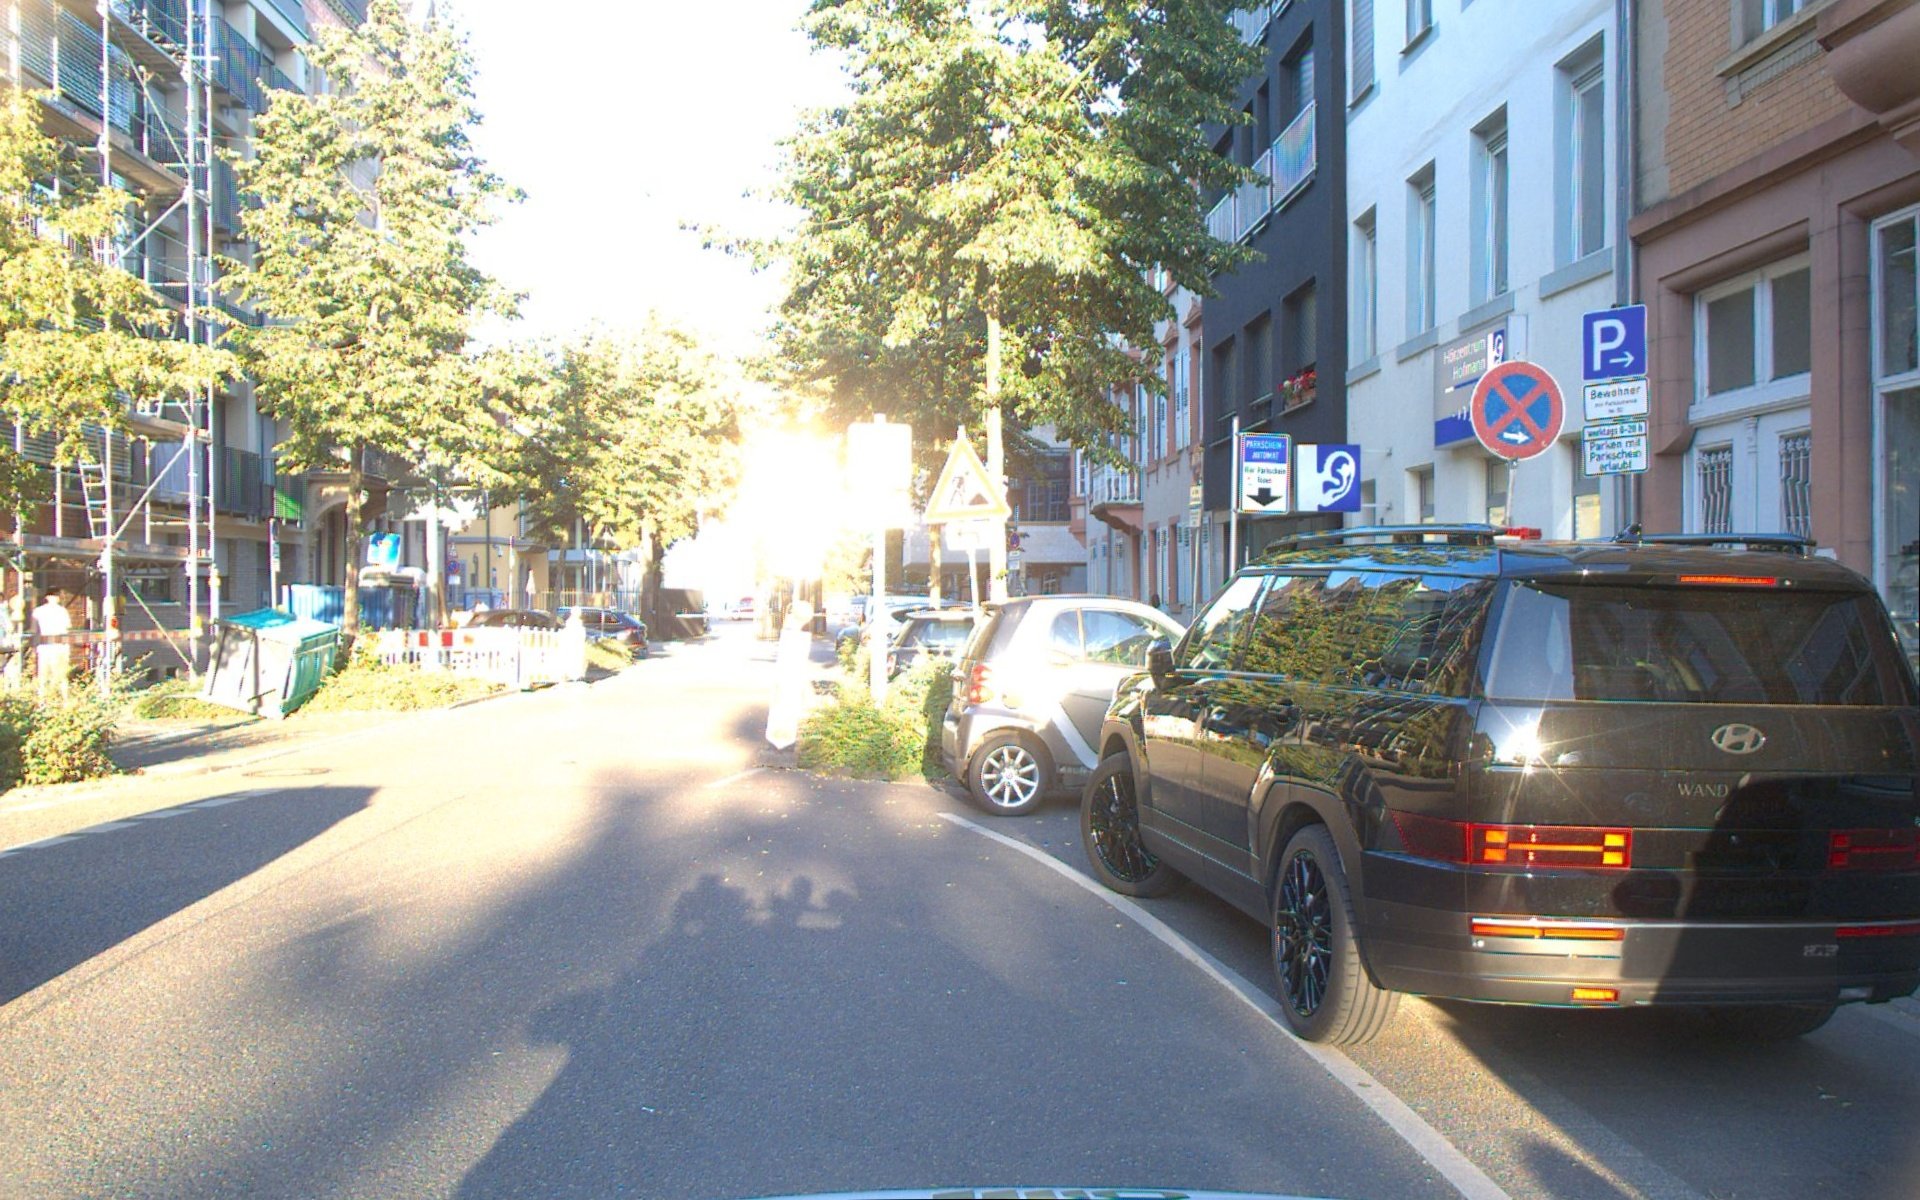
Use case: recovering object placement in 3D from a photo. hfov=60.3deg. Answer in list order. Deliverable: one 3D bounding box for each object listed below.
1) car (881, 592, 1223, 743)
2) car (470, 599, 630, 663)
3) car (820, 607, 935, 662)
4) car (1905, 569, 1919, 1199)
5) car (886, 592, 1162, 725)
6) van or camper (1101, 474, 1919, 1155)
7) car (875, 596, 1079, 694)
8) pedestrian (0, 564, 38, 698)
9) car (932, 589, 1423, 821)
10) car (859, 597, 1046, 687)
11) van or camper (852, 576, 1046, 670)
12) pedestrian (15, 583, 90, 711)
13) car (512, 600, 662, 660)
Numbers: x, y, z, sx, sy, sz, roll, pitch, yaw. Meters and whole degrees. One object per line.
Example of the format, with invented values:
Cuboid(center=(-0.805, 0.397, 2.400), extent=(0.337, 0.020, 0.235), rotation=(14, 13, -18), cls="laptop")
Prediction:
Cuboid(center=(1.042, 0.795, 20.132), extent=(3.917, 1.699, 1.856), rotation=(1, 0, -5), cls="car")
Cuboid(center=(-11.150, 0.823, 45.164), extent=(3.906, 1.713, 1.890), rotation=(0, 0, -1), cls="car")
Cuboid(center=(-2.484, 1.040, 50.849), extent=(1.818, 1.595, 3.690), rotation=(1, 0, 30), cls="car")
Cuboid(center=(3.032, 0.737, 2.232), extent=(1.495, 1.597, 3.421), rotation=(1, 0, -1), cls="car")
Cuboid(center=(0.823, 0.788, 22.933), extent=(3.613, 1.699, 1.856), rotation=(1, 0, -5), cls="car")
Cuboid(center=(1.984, 0.585, 6.825), extent=(1.854, 1.839, 4.452), rotation=(0, 0, -8), cls="van or camper")
Cuboid(center=(0.270, 0.822, 30.853), extent=(3.613, 1.699, 1.856), rotation=(1, 0, -5), cls="car")
Cuboid(center=(-13.225, 0.422, 22.731), extent=(0.726, 1.814, 0.656), rotation=(-1, 0, -3), cls="pedestrian")
Cuboid(center=(1.590, 0.724, 12.543), extent=(3.408, 1.603, 1.503), rotation=(0, 0, -12), cls="car")
Cuboid(center=(-0.194, 0.831, 33.305), extent=(3.613, 1.699, 1.856), rotation=(1, 0, -5), cls="car")
Cuboid(center=(-0.301, 0.527, 38.418), extent=(4.353, 2.041, 1.856), rotation=(1, 0, -5), cls="van or camper")
Cuboid(center=(-13.106, 0.668, 23.894), extent=(0.726, 1.814, 0.656), rotation=(-1, 0, -4), cls="pedestrian")
Cuboid(center=(-10.760, 0.847, 47.865), extent=(3.906, 1.713, 1.890), rotation=(0, 0, -1), cls="car")
